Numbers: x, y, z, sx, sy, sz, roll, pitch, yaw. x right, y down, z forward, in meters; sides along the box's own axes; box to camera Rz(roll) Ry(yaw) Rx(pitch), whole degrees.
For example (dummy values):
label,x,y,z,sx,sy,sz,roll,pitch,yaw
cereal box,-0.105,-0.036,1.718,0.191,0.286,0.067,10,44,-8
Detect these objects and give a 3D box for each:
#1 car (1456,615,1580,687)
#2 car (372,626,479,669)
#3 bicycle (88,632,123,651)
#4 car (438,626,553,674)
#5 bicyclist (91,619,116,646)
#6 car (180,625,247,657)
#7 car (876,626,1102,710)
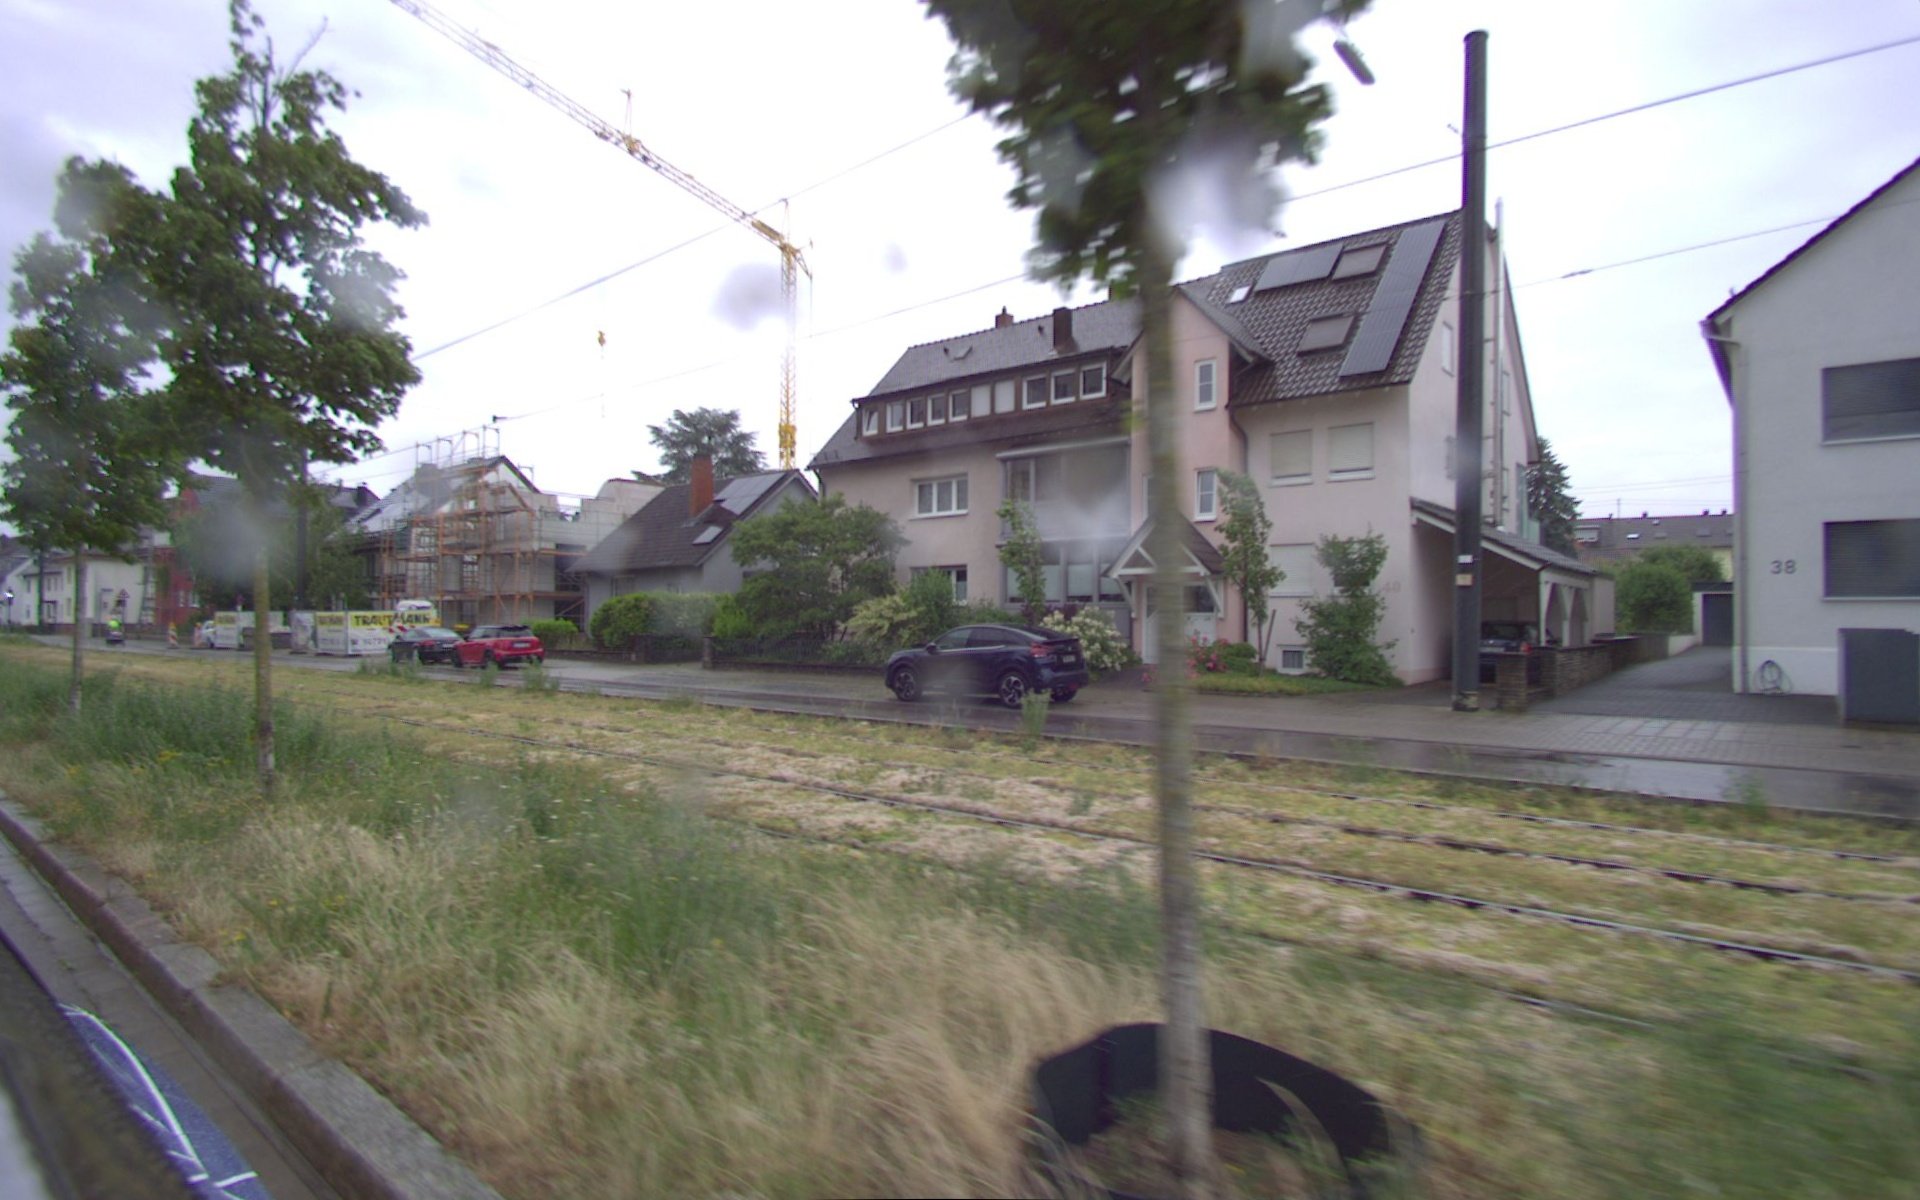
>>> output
label,x,y,z,sx,sy,sz,roll,pitch,yaw
car,13.301,1.131,24.024,1.841,1.512,3.946,0,0,40
car,-19.385,1.711,36.626,4.170,1.420,1.974,-3,-2,39
bicycle,-50.823,2.462,60.151,3.430,1.051,0.925,-1,-2,39
car,-15.304,1.610,33.301,3.840,1.383,1.974,0,0,39
bicyclist,-51.130,1.929,60.403,1.399,1.596,0.944,0,0,40
car,-42.132,2.298,57.064,4.245,1.640,1.975,0,0,38
car,0.498,1.254,19.720,4.170,1.437,1.818,-2,-1,39
